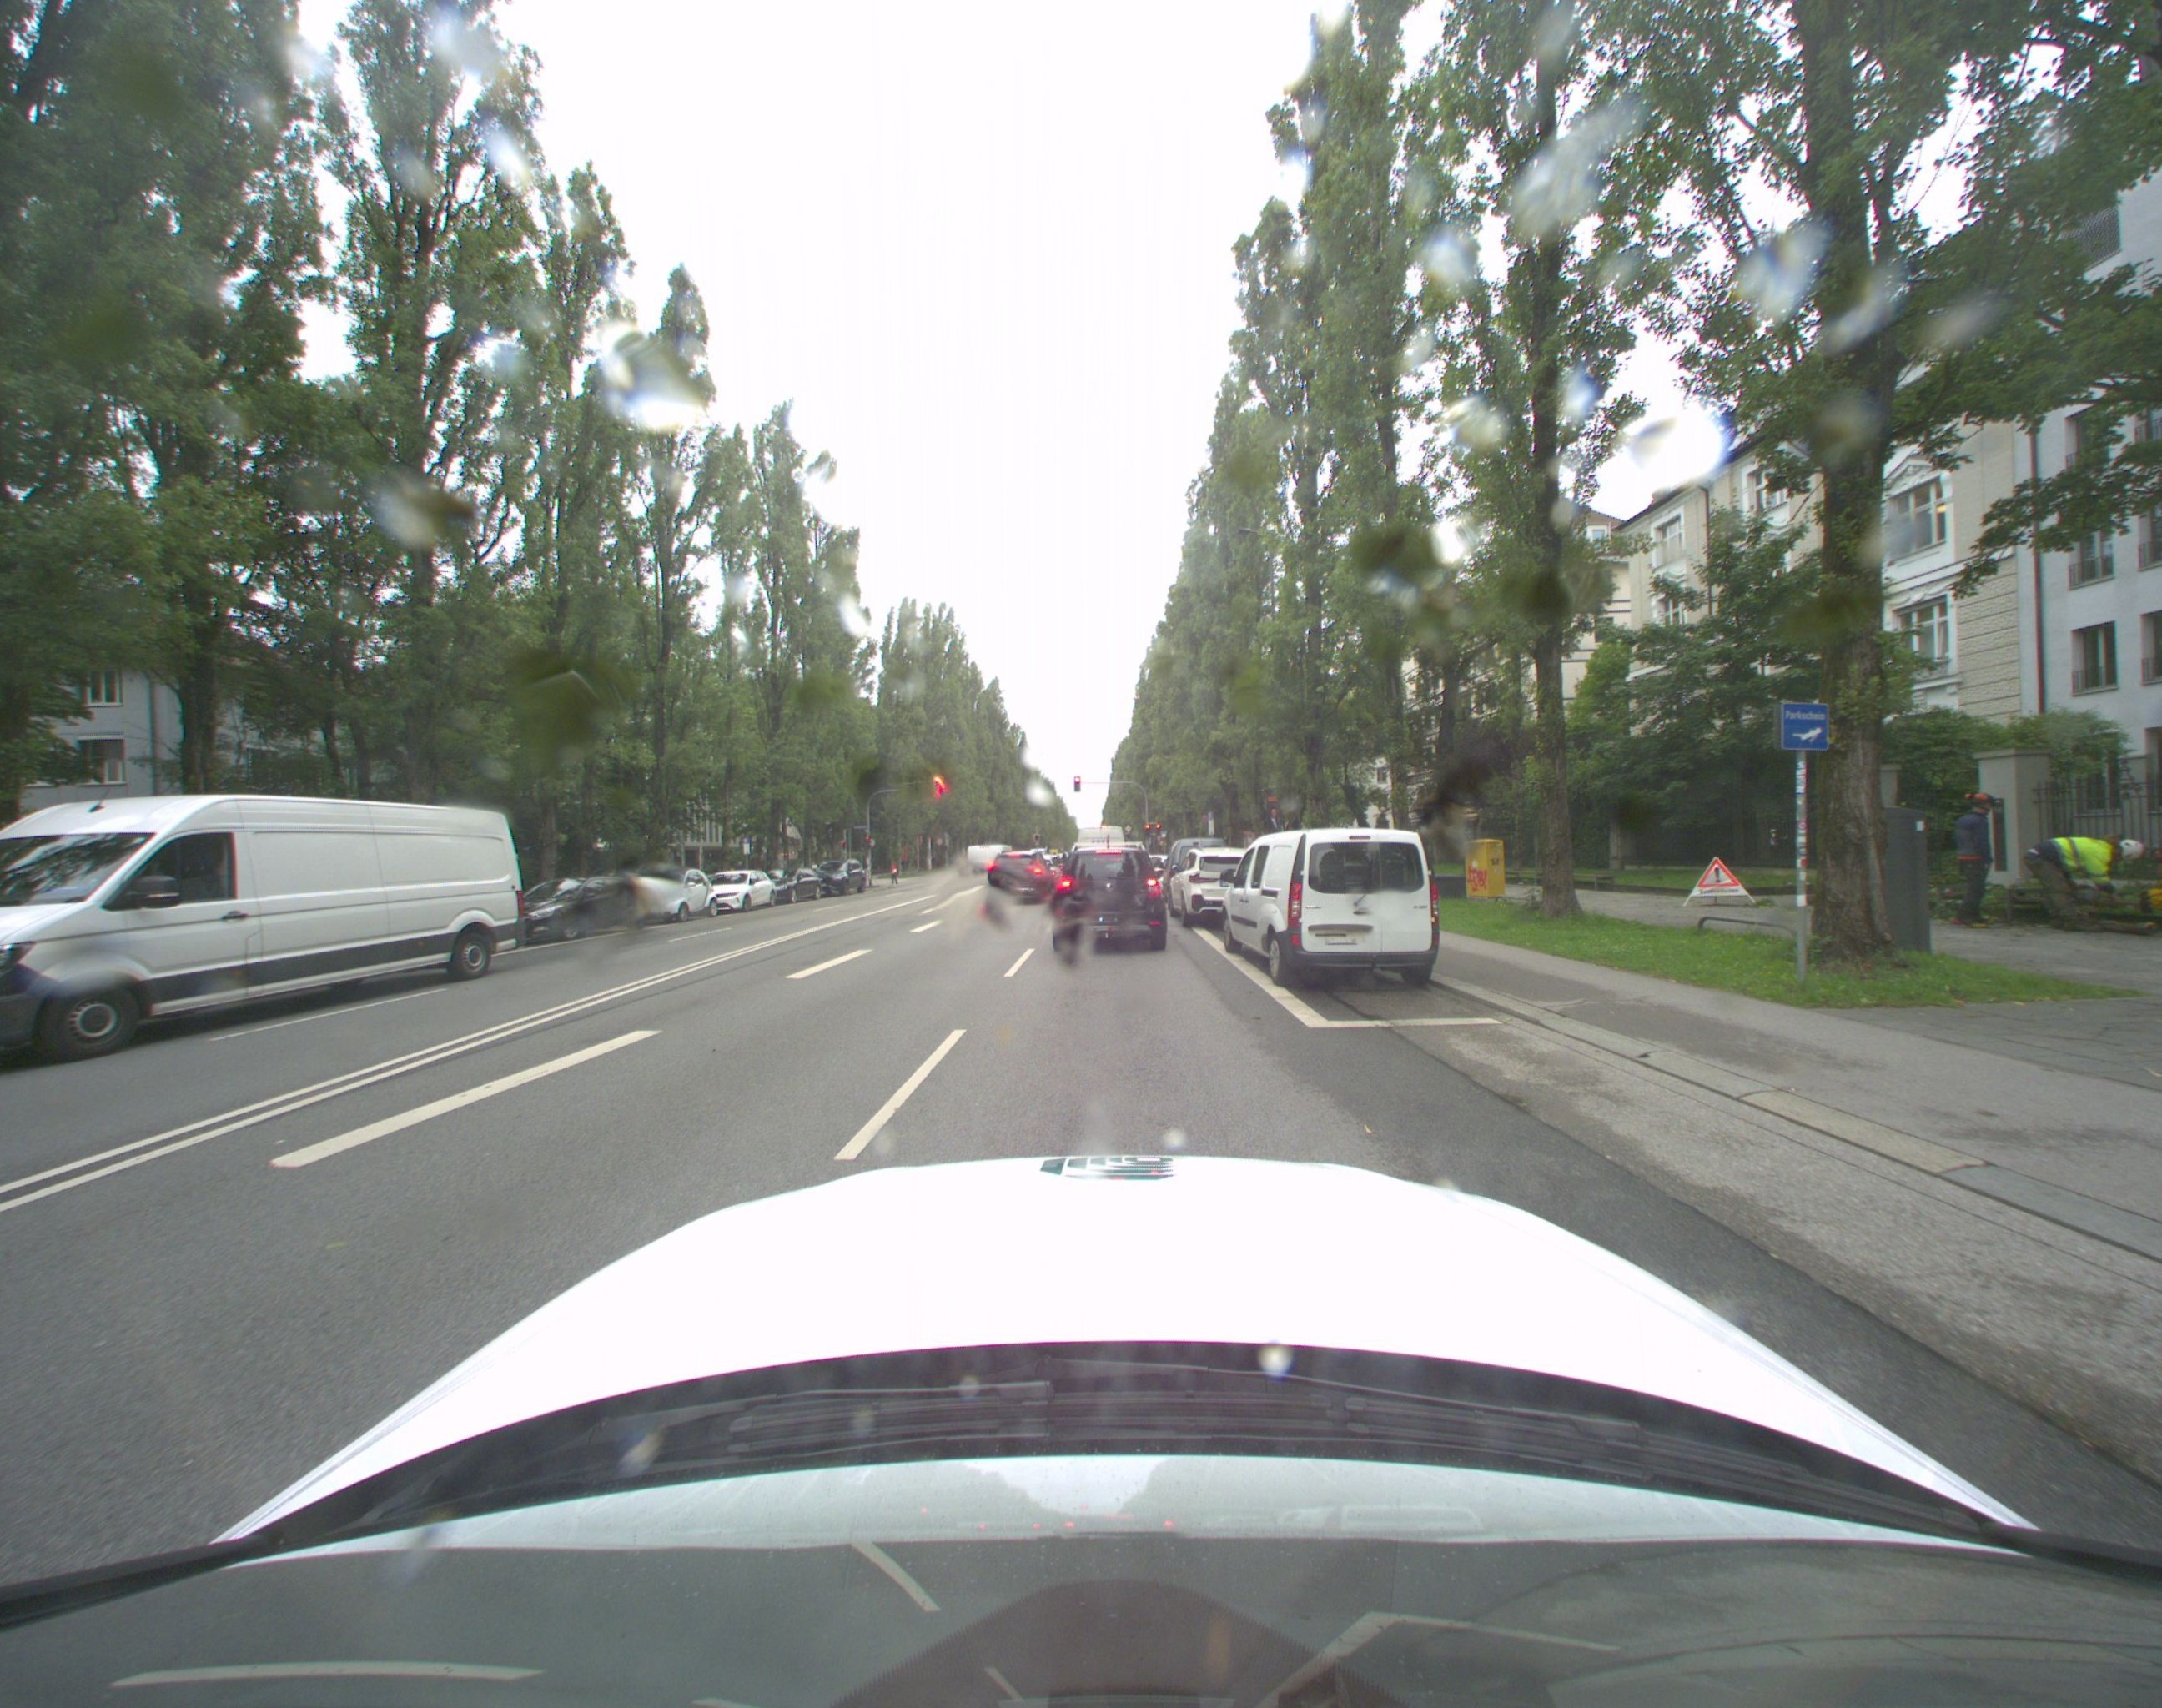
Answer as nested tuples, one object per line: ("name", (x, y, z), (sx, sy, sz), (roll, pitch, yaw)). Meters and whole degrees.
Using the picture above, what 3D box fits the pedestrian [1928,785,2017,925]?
("pedestrian", (12.325, 0.007, 11.269), (0.487, 1.862, 0.635), (-2, 0, -16))

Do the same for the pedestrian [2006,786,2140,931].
("pedestrian", (12.855, 0.047, 10.577), (0.801, 1.782, 0.816), (-2, 0, -16))

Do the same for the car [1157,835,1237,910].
("car", (3.195, 0.474, 23.098), (1.729, 1.895, 4.026), (-2, 0, 1))

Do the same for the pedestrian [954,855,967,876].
("pedestrian", (-10.679, 1.014, 72.054), (0.875, 1.764, 0.880), (-2, 0, 10))

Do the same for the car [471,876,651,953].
("car", (-12.252, 1.366, 19.521), (1.594, 1.425, 3.854), (-4, 0, 3))

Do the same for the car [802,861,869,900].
("car", (-11.985, 1.229, 40.017), (1.844, 1.654, 4.693), (-4, 0, -1))

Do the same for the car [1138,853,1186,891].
("car", (3.380, 0.714, 34.476), (1.729, 1.475, 3.563), (-2, 0, 1))

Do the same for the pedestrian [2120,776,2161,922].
("pedestrian", (13.728, -0.075, 10.077), (0.905, 1.800, 0.825), (-3, 2, -20))

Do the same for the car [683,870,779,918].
("car", (-12.164, 1.339, 28.596), (1.619, 1.389, 4.163), (-4, 0, -2))

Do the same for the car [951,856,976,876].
("car", (-11.424, 1.142, 79.428), (1.682, 1.783, 3.776), (-2, 0, 1))

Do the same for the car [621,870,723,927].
("car", (-12.176, 1.282, 24.426), (1.422, 1.447, 2.966), (-5, 0, 1))

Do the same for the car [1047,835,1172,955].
("car", (0.471, 0.608, 14.121), (1.849, 1.770, 4.001), (0, 0, 1))

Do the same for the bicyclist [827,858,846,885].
("bicyclist", (-16.283, 1.140, 54.204), (0.900, 1.722, 0.827), (-2, 0, 11))

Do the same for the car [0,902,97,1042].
("car", (-12.401, 1.338, 7.720), (1.704, 1.451, 3.585), (-4, 0, 0))

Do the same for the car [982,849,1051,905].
("car", (-1.993, 0.674, 26.357), (1.775, 1.620, 4.026), (-2, 0, 1))

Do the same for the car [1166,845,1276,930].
("car", (2.914, 0.636, 17.826), (1.735, 1.593, 4.212), (-2, 0, 1))

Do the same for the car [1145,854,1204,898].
("car", (3.281, 0.743, 29.173), (1.729, 1.387, 3.563), (-2, 0, 1))

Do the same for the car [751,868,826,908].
("car", (-12.155, 1.357, 34.122), (1.619, 1.389, 4.164), (-4, 0, -1))

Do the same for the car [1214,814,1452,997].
("car", (3.027, 0.536, 10.752), (1.845, 1.881, 4.168), (-2, 0, 0))

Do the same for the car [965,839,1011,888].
("car", (-4.319, 0.413, 38.377), (1.777, 2.111, 4.022), (-2, 0, -2))

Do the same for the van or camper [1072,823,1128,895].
("van or camper", (0.686, 0.174, 31.864), (1.969, 2.548, 4.024), (-2, 0, -1))

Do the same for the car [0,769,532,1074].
("car", (-9.968, 0.606, 9.668), (2.221, 2.483, 6.756), (-4, 0, -1))

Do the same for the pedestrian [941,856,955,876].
("pedestrian", (-11.597, 1.032, 71.082), (0.875, 1.764, 0.880), (-2, 0, 10))

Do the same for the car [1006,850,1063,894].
("car", (-1.802, 0.669, 32.649), (1.987, 1.560, 4.000), (-2, 1, 0))

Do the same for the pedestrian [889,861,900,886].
("pedestrian", (-11.391, 1.165, 49.728), (0.515, 1.485, 0.537), (-2, 0, 2))

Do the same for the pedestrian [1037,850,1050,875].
("pedestrian", (-3.163, 0.696, 68.411), (0.881, 2.013, 1.014), (-2, 0, 4))
